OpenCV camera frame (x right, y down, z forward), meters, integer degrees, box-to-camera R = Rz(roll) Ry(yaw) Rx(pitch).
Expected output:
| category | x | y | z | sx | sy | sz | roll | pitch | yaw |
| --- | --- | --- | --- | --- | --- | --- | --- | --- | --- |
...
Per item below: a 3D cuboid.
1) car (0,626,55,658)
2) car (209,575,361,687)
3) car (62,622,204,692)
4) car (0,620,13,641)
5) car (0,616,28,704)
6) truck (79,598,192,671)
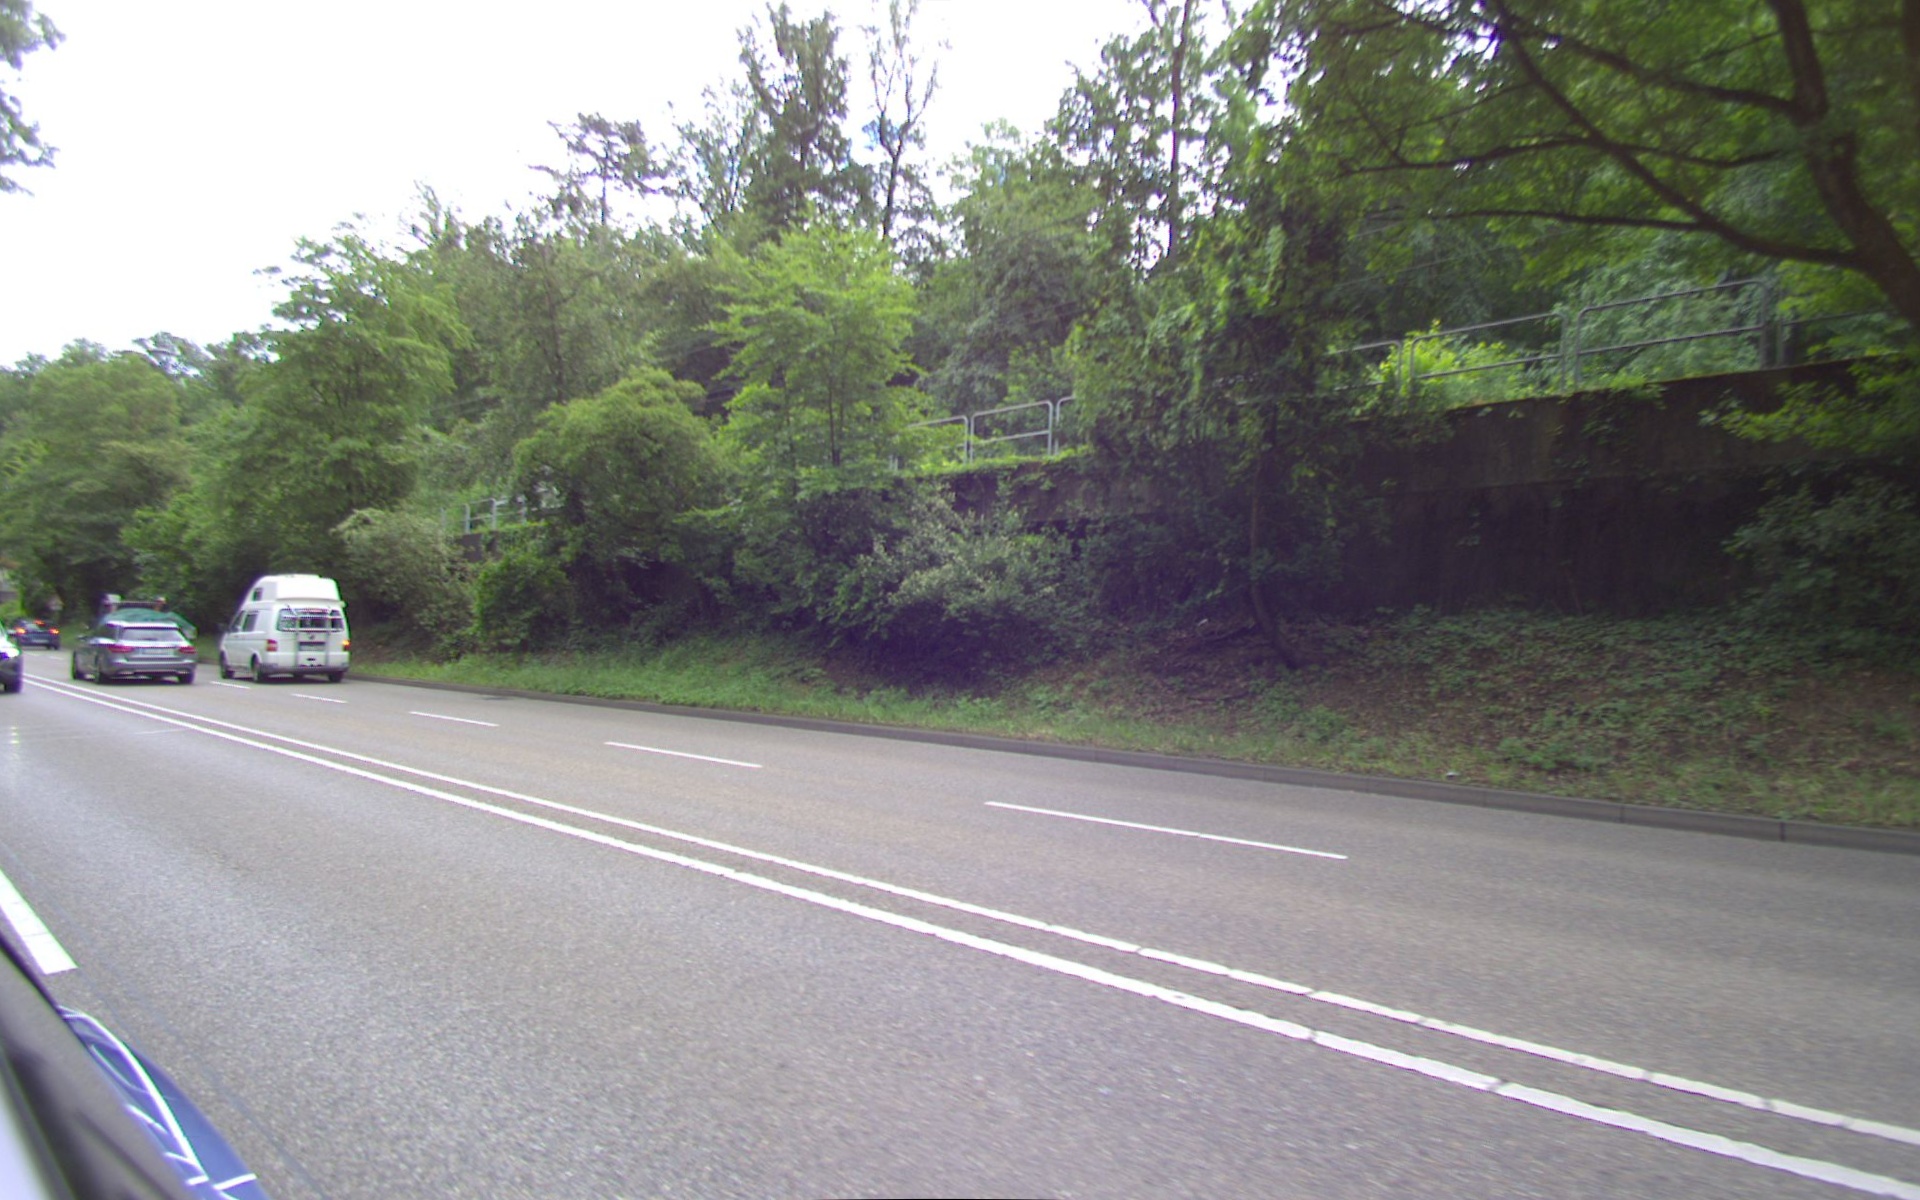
| category | x | y | z | sx | sy | sz | roll | pitch | yaw |
| --- | --- | --- | --- | --- | --- | --- | --- | --- | --- |
| car | -47.075 | 2.091 | 50.971 | 3.997 | 1.497 | 1.653 | -1 | -3 | 40 |
| car | -17.092 | 0.777 | 25.530 | 4.912 | 2.575 | 1.867 | -1 | -4 | 41 |
| car | -19.525 | 1.288 | 23.839 | 4.463 | 1.477 | 1.820 | -1 | -2 | 41 |
| car | -83.445 | 2.596 | 87.561 | 4.133 | 1.786 | 1.641 | -1 | -4 | 41 |
| car | -20.122 | 1.123 | 20.078 | 4.190 | 1.675 | 1.847 | -1 | -4 | 41 |
| truck | -30.216 | 1.253 | 36.989 | 6.464 | 2.429 | 2.153 | -1 | -4 | 42 |
